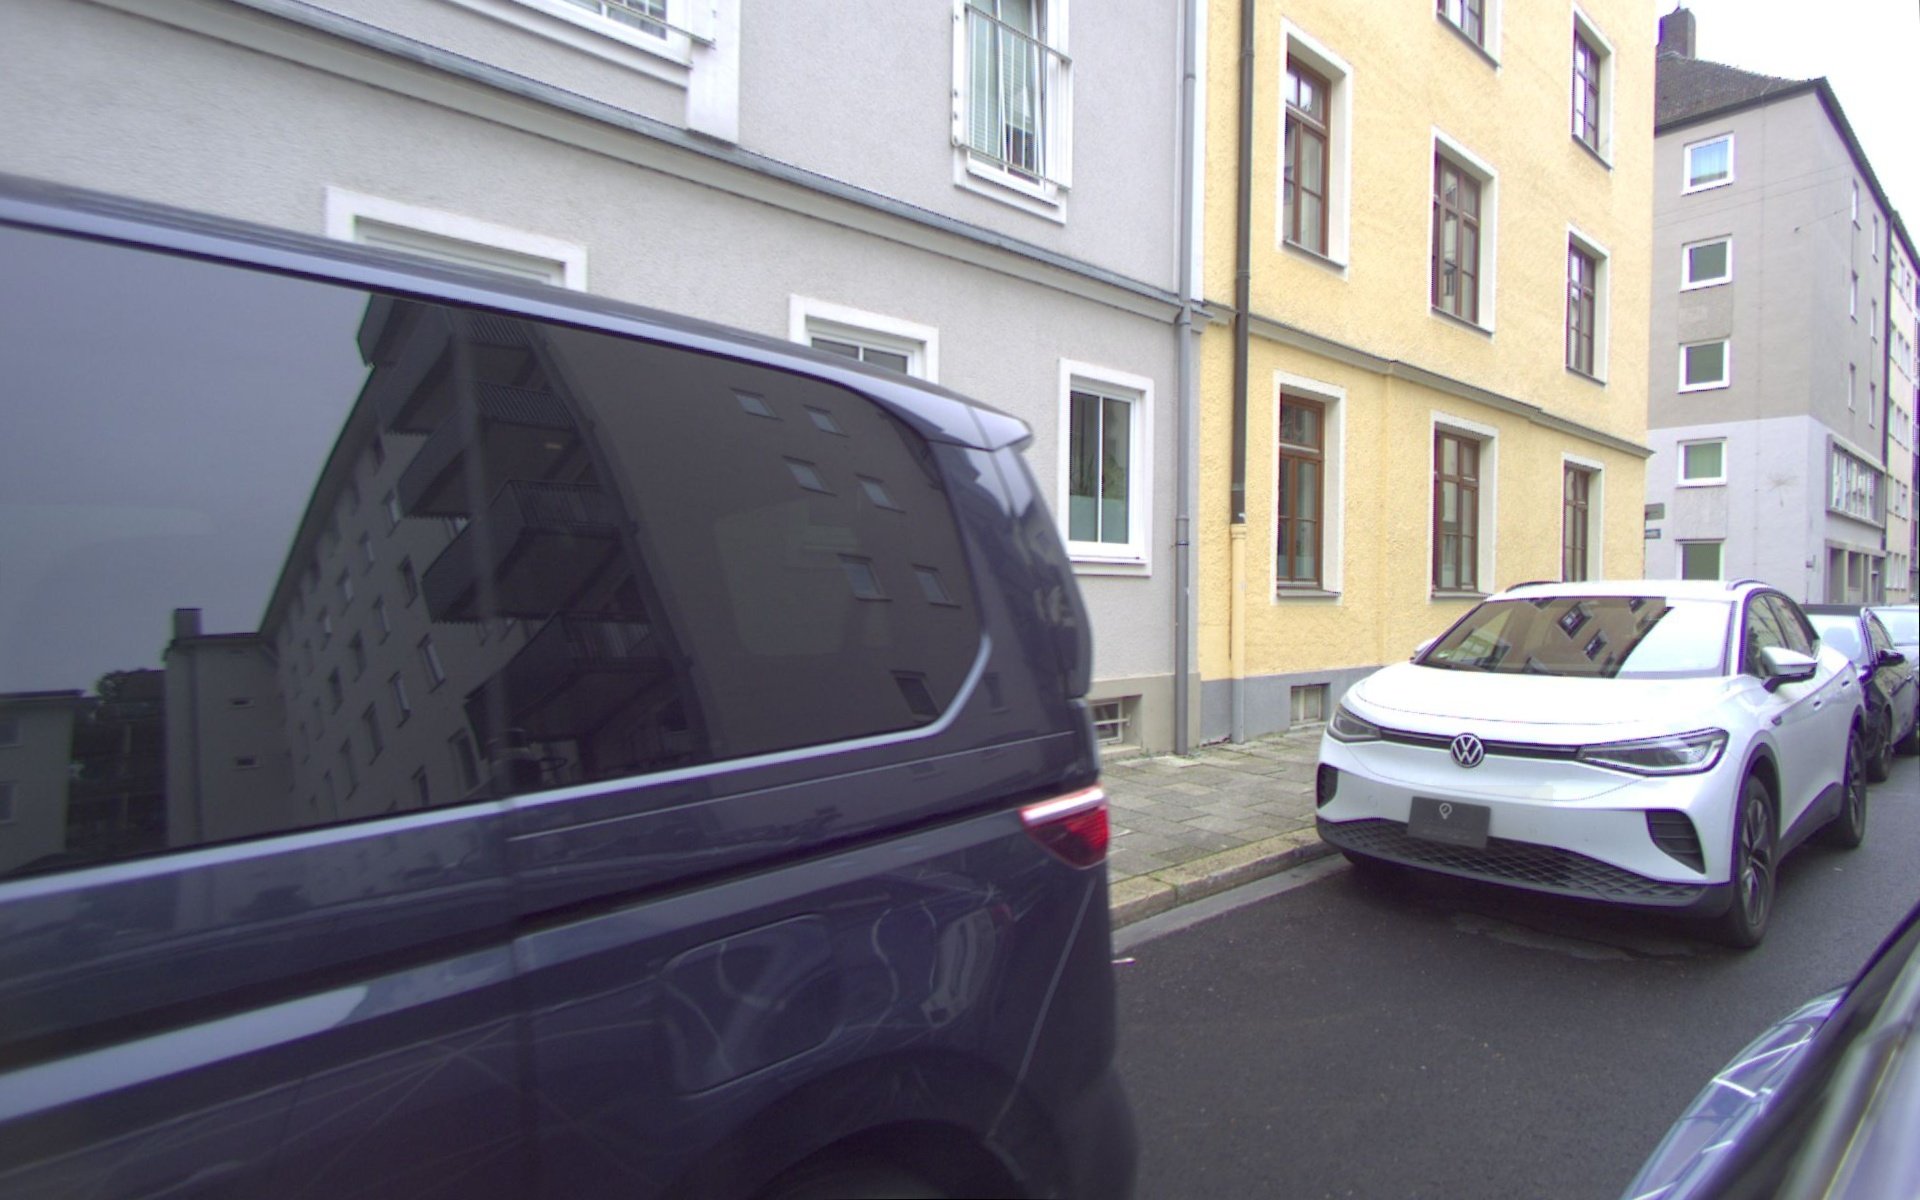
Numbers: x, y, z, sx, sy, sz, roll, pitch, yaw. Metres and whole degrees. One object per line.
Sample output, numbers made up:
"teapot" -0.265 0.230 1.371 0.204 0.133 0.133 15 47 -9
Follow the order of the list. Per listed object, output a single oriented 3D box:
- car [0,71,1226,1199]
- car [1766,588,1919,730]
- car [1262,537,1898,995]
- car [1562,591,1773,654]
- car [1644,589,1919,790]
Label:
"car" -2.098 0.554 0.836 5.094 1.862 1.985 0 -1 -41
"car" 11.472 0.620 12.535 3.790 1.523 1.689 0 1 -41
"car" 3.882 0.578 5.967 4.462 1.695 1.965 0 1 -41
"car" 17.912 0.500 25.742 4.151 1.398 1.942 2 2 45
"car" 8.108 0.667 9.673 3.790 1.523 1.689 0 1 -41
